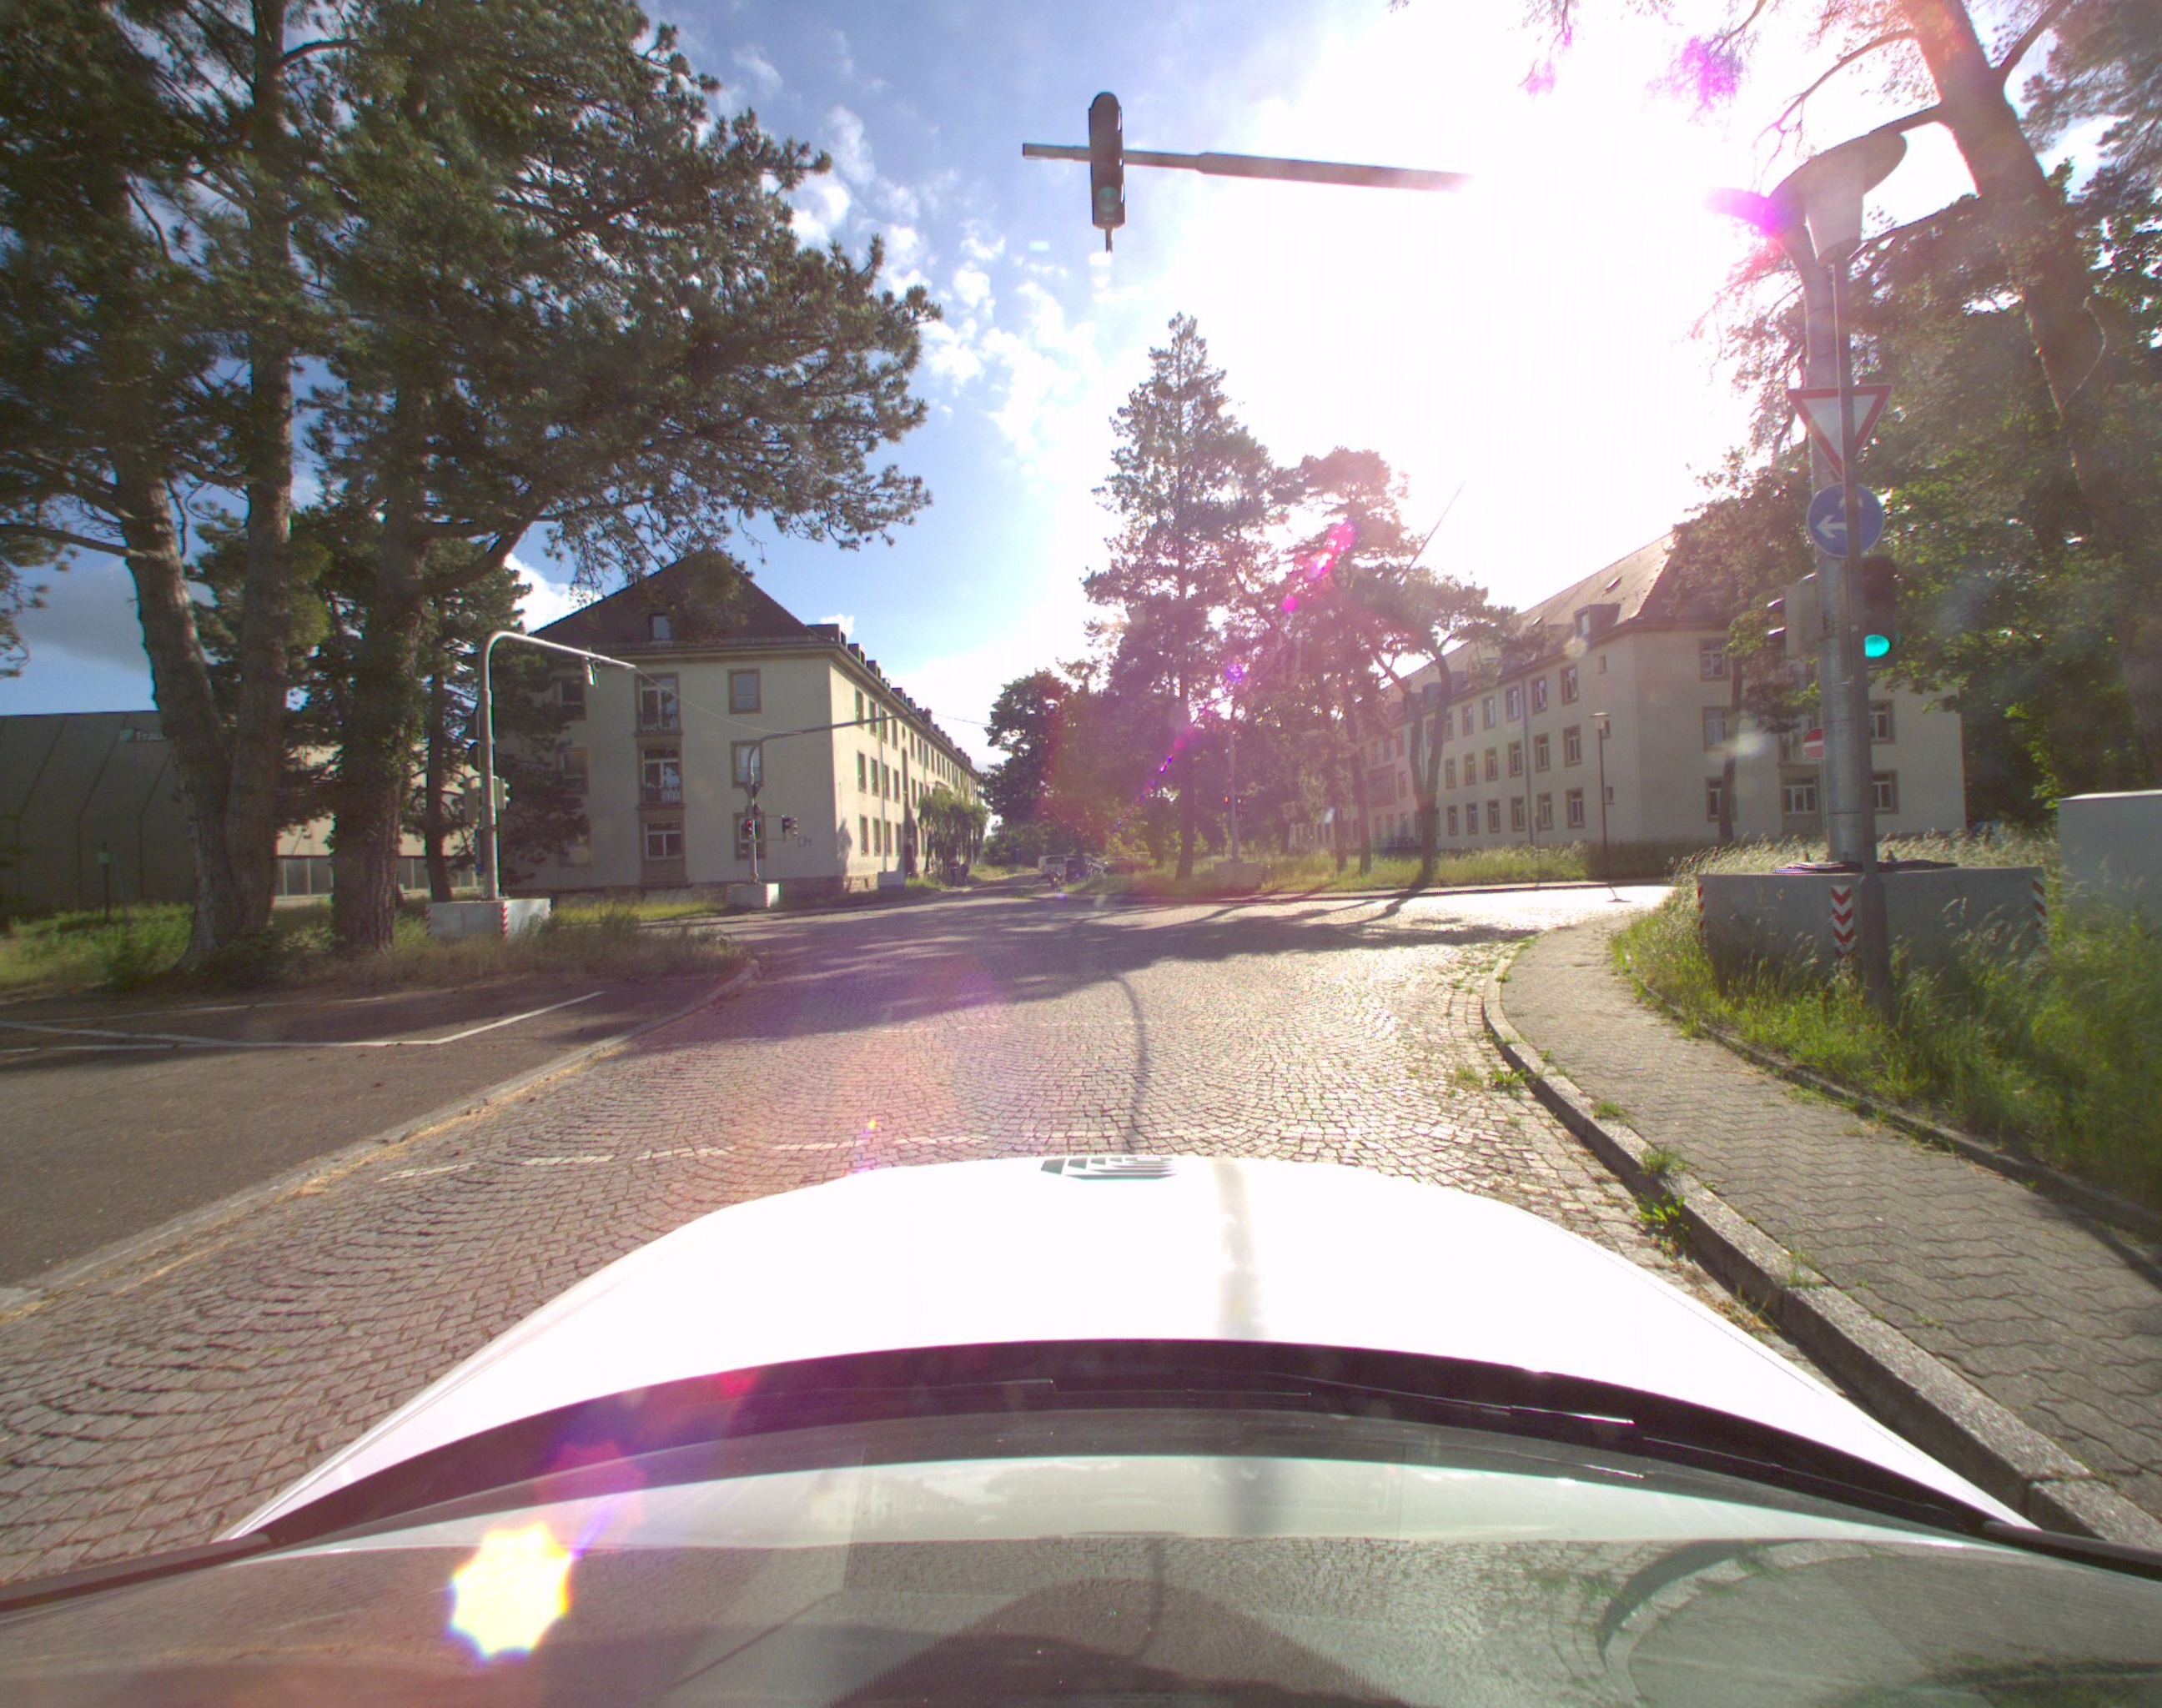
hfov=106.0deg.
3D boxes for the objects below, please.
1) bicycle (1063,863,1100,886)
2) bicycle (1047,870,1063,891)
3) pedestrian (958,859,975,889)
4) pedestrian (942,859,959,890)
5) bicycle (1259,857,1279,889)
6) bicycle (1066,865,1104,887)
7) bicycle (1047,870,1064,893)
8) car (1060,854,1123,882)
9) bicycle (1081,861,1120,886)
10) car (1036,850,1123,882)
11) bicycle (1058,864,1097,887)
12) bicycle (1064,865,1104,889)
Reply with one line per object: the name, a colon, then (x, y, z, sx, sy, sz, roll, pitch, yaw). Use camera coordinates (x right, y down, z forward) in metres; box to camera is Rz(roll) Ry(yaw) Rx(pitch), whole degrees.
bicycle: (0.020, 1.088, 43.950, 1.938, 1.129, 0.646, -2, -1, -7)
bicycle: (-1.259, 1.266, 39.266, 0.694, 0.971, 1.858, -2, 0, -3)
pedestrian: (-6.977, 1.225, 49.640, 0.762, 1.817, 0.684, -2, -1, 10)
pedestrian: (-7.849, 1.250, 49.115, 0.807, 1.817, 0.556, -2, -1, 10)
bicycle: (6.661, 0.675, 28.874, 0.464, 1.080, 1.174, -2, -1, 3)
bicycle: (0.184, 1.107, 40.847, 1.851, 1.031, 0.749, -2, -1, -4)
bicycle: (-1.174, 1.254, 37.337, 0.694, 0.971, 1.858, -2, 0, -3)
car: (0.676, 0.919, 54.597, 3.986, 1.684, 1.841, -2, -1, -9)
bicycle: (1.024, 1.015, 42.365, 1.937, 1.235, 0.484, -2, -1, -4)
car: (-0.142, 0.868, 58.959, 5.927, 2.013, 2.468, -2, 0, -8)
bicycle: (-0.180, 1.133, 42.850, 1.952, 1.129, 0.642, -2, -1, -28)
bicycle: (0.149, 1.157, 41.641, 1.937, 1.129, 0.749, -2, -1, -4)
